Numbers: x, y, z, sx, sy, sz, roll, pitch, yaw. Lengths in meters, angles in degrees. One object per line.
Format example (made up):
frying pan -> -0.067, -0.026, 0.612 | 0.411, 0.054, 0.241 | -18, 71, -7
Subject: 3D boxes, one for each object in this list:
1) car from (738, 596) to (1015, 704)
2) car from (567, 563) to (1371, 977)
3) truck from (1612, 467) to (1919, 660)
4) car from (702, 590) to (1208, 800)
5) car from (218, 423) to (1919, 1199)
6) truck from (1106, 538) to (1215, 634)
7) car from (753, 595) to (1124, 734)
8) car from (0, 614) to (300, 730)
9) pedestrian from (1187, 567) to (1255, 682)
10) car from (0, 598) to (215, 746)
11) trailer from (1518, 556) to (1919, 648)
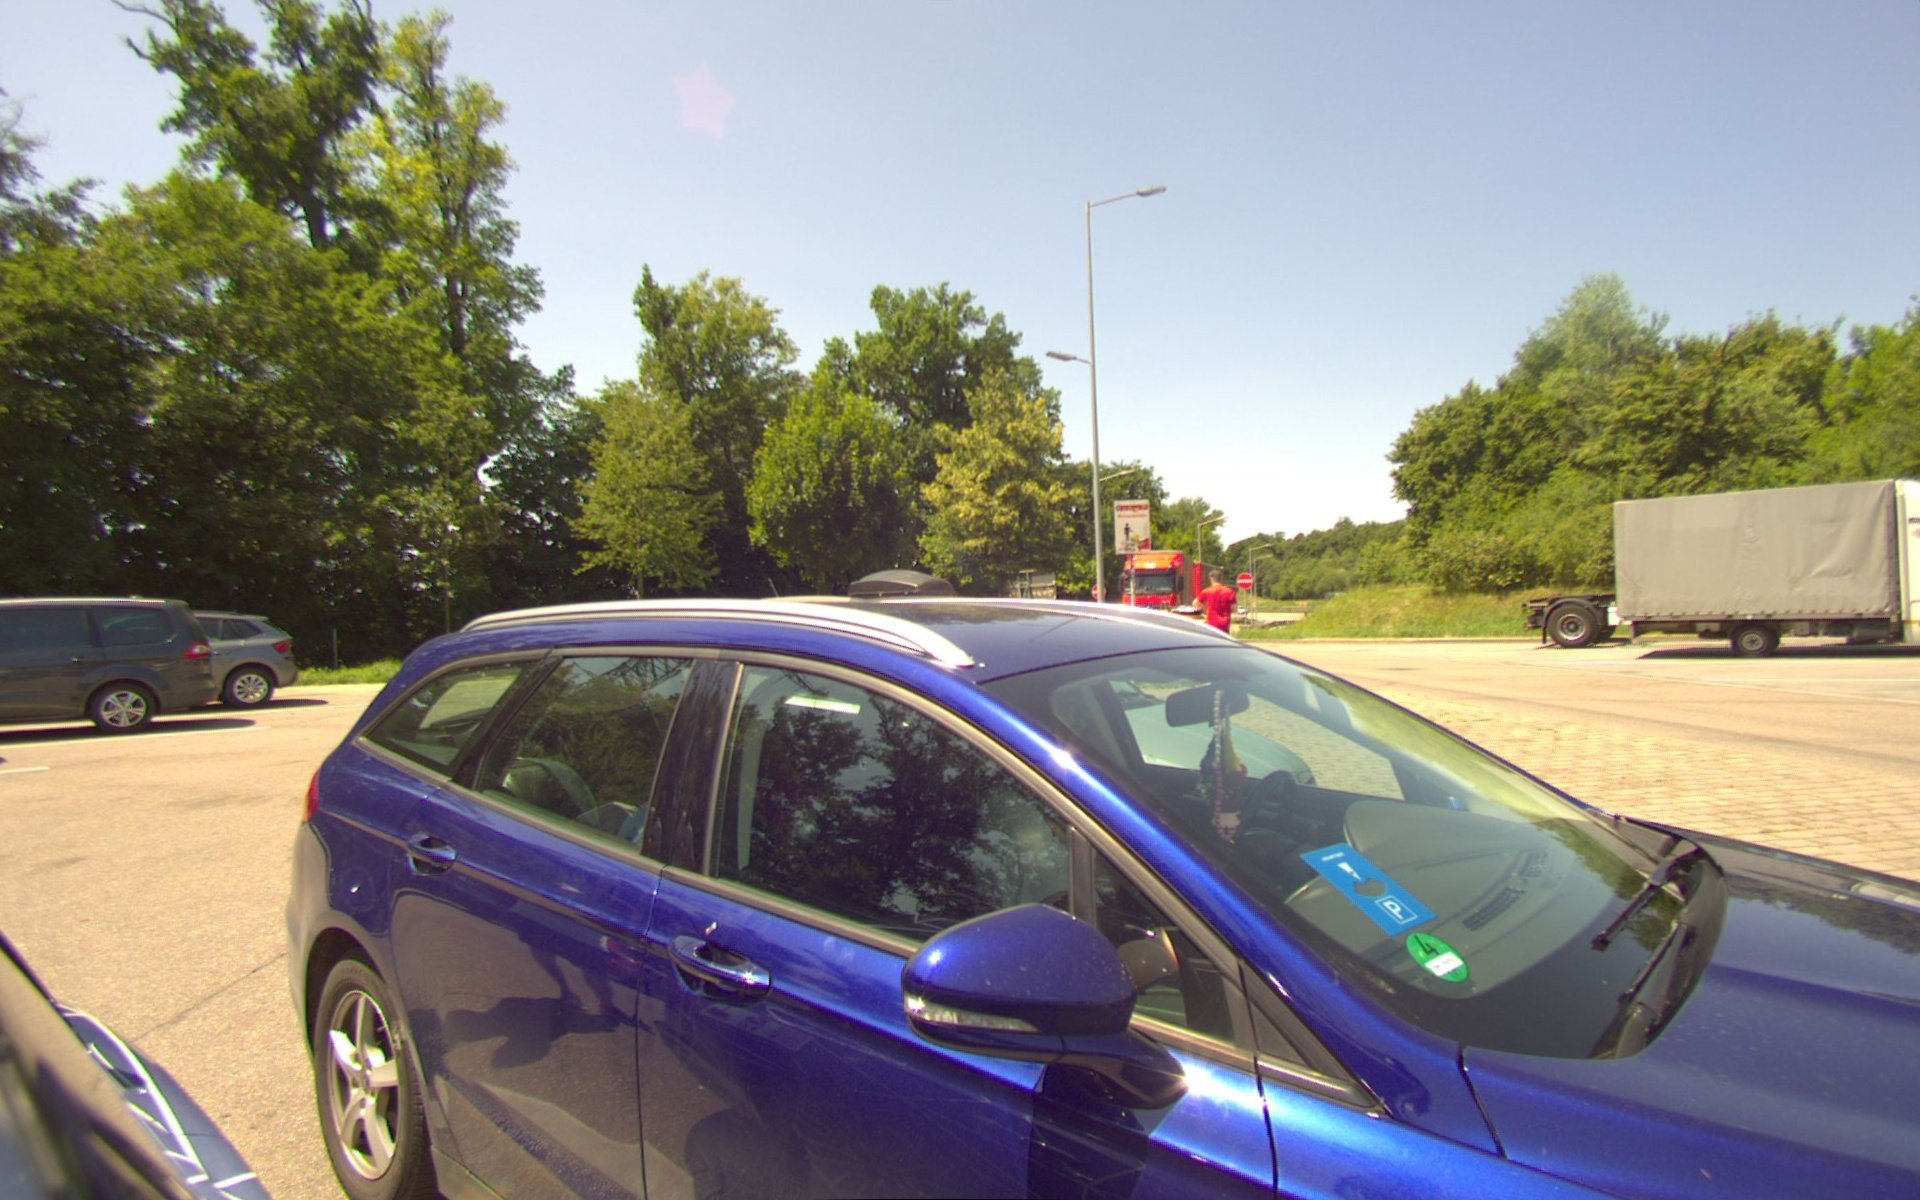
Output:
car -> -1.472, 0.826, 16.838 | 4.485, 1.562, 1.756 | -3, -1, 36
car -> -0.252, 0.693, 5.817 | 4.490, 1.511, 1.754 | -3, -1, 40
truck -> 16.832, -0.658, 18.946 | 7.295, 3.259, 2.709 | -4, -1, 43
car -> -0.239, 0.749, 9.191 | 4.490, 1.437, 1.754 | -3, -1, 40
car -> 0.259, 0.660, 2.118 | 4.490, 1.502, 1.851 | -3, 0, 40
truck -> 10.589, -0.622, 51.686 | 3.110, 4.150, 15.298 | -1, 0, 20
car -> -0.380, 0.774, 12.739 | 4.485, 1.437, 1.756 | -3, -1, 36
car -> -12.591, 1.004, 15.445 | 1.687, 1.515, 3.943 | -1, 0, 43
pedestrian -> 4.092, 0.370, 15.907 | 0.664, 1.746, 0.836 | -1, -1, -16
car -> -11.937, 0.859, 12.281 | 4.553, 1.725, 1.741 | 0, -1, -41
trailer -> 17.258, 0.123, 23.373 | 7.295, 1.701, 2.235 | -4, -1, 43
